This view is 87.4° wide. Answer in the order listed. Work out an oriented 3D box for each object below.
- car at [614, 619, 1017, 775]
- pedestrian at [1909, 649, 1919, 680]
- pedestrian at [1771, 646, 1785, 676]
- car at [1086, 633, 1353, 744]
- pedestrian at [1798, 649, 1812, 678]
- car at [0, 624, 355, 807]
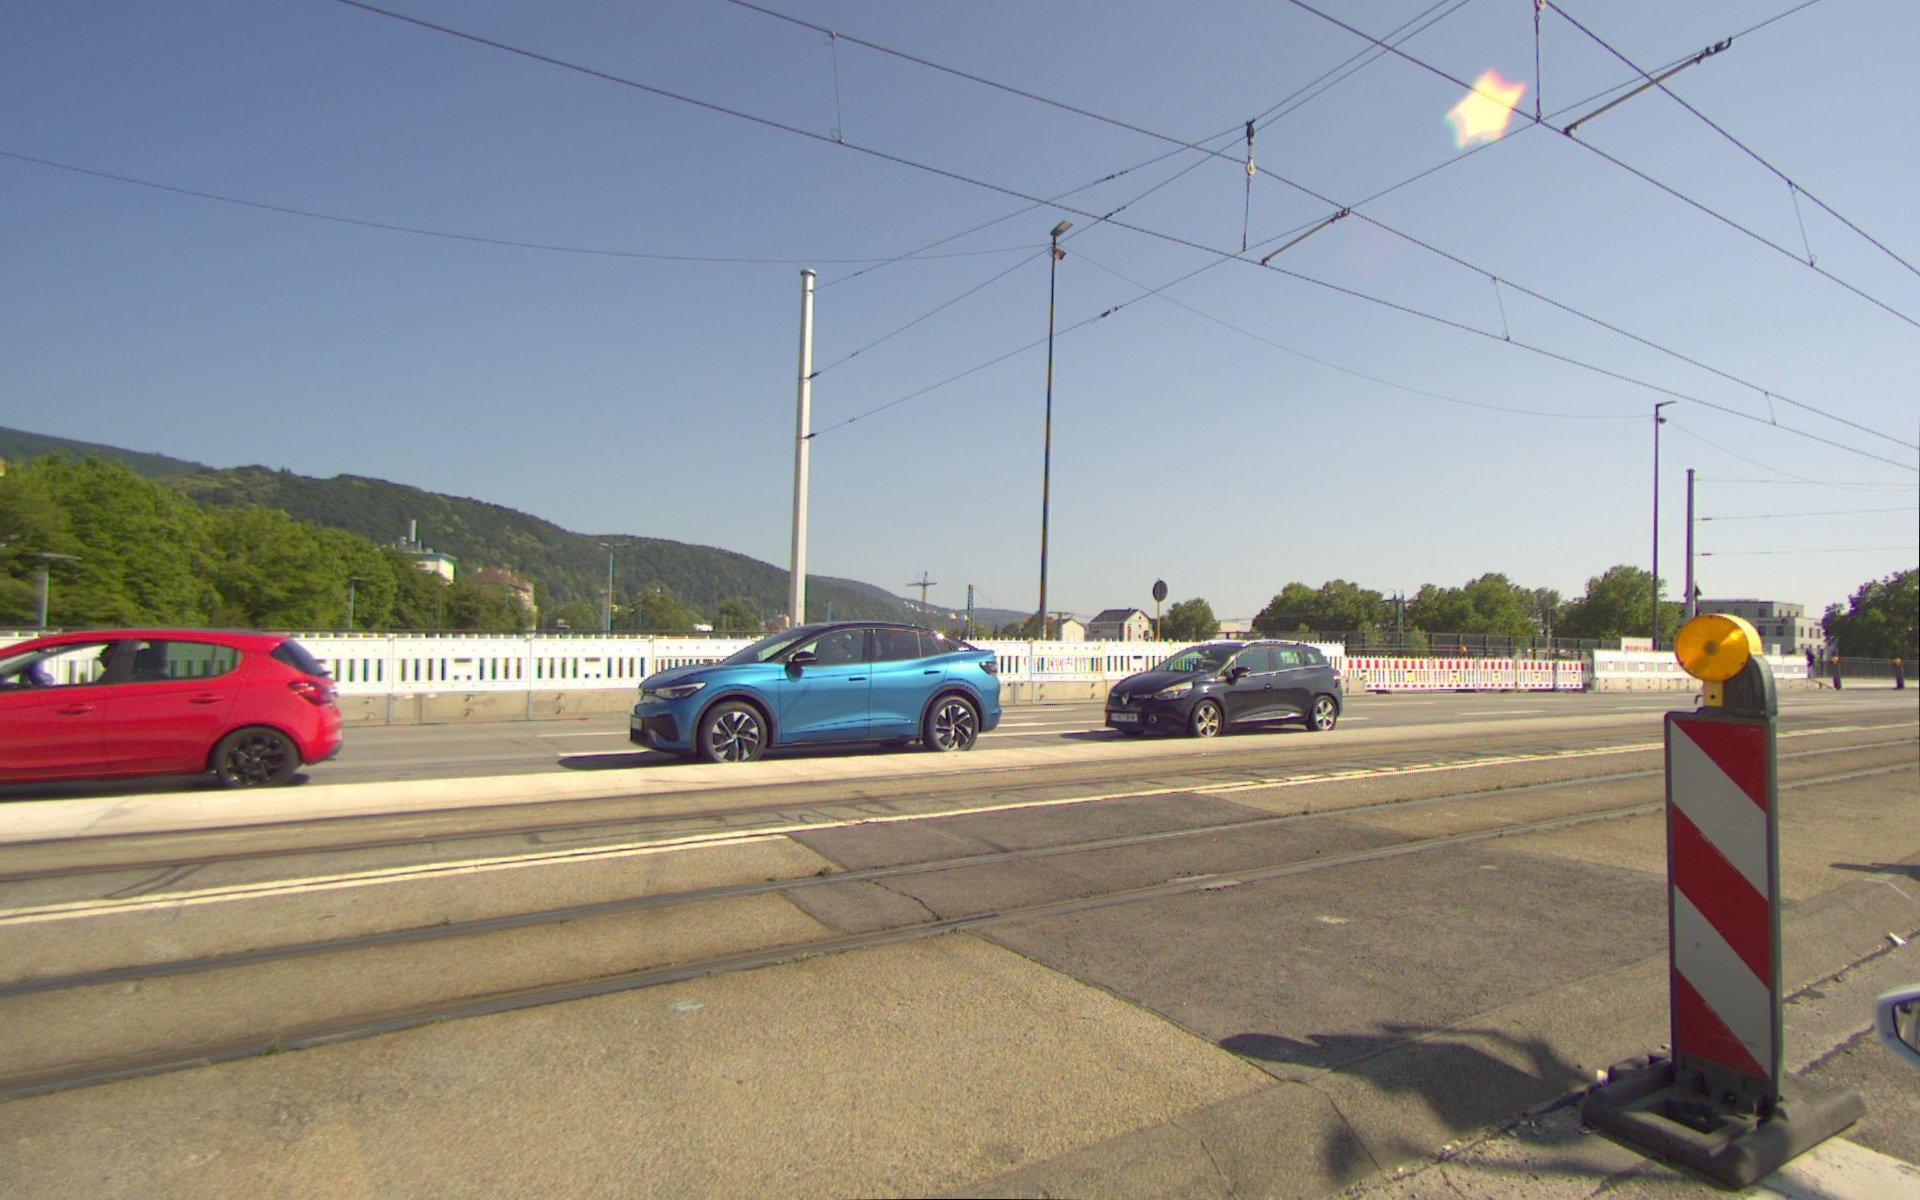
[{"bbox_3d":[-1.636,1.082,12.045,4.504,1.570,1.662,2,-3,-31],"label":"car"},{"bbox_3d":[61.063,4.112,64.007,0.743,1.918,0.631,2,-1,-30],"label":"pedestrian"},{"bbox_3d":[48.798,3.636,59.948,0.468,1.716,0.493,3,-1,-30],"label":"pedestrian"},{"bbox_3d":[4.036,1.306,15.439,4.129,1.520,1.498,2,-4,-30],"label":"car"},{"bbox_3d":[49.583,3.724,58.953,0.468,1.716,0.493,3,-1,-30],"label":"pedestrian"},{"bbox_3d":[-7.670,0.961,8.857,3.934,1.456,1.526,2,-3,-31],"label":"car"}]
